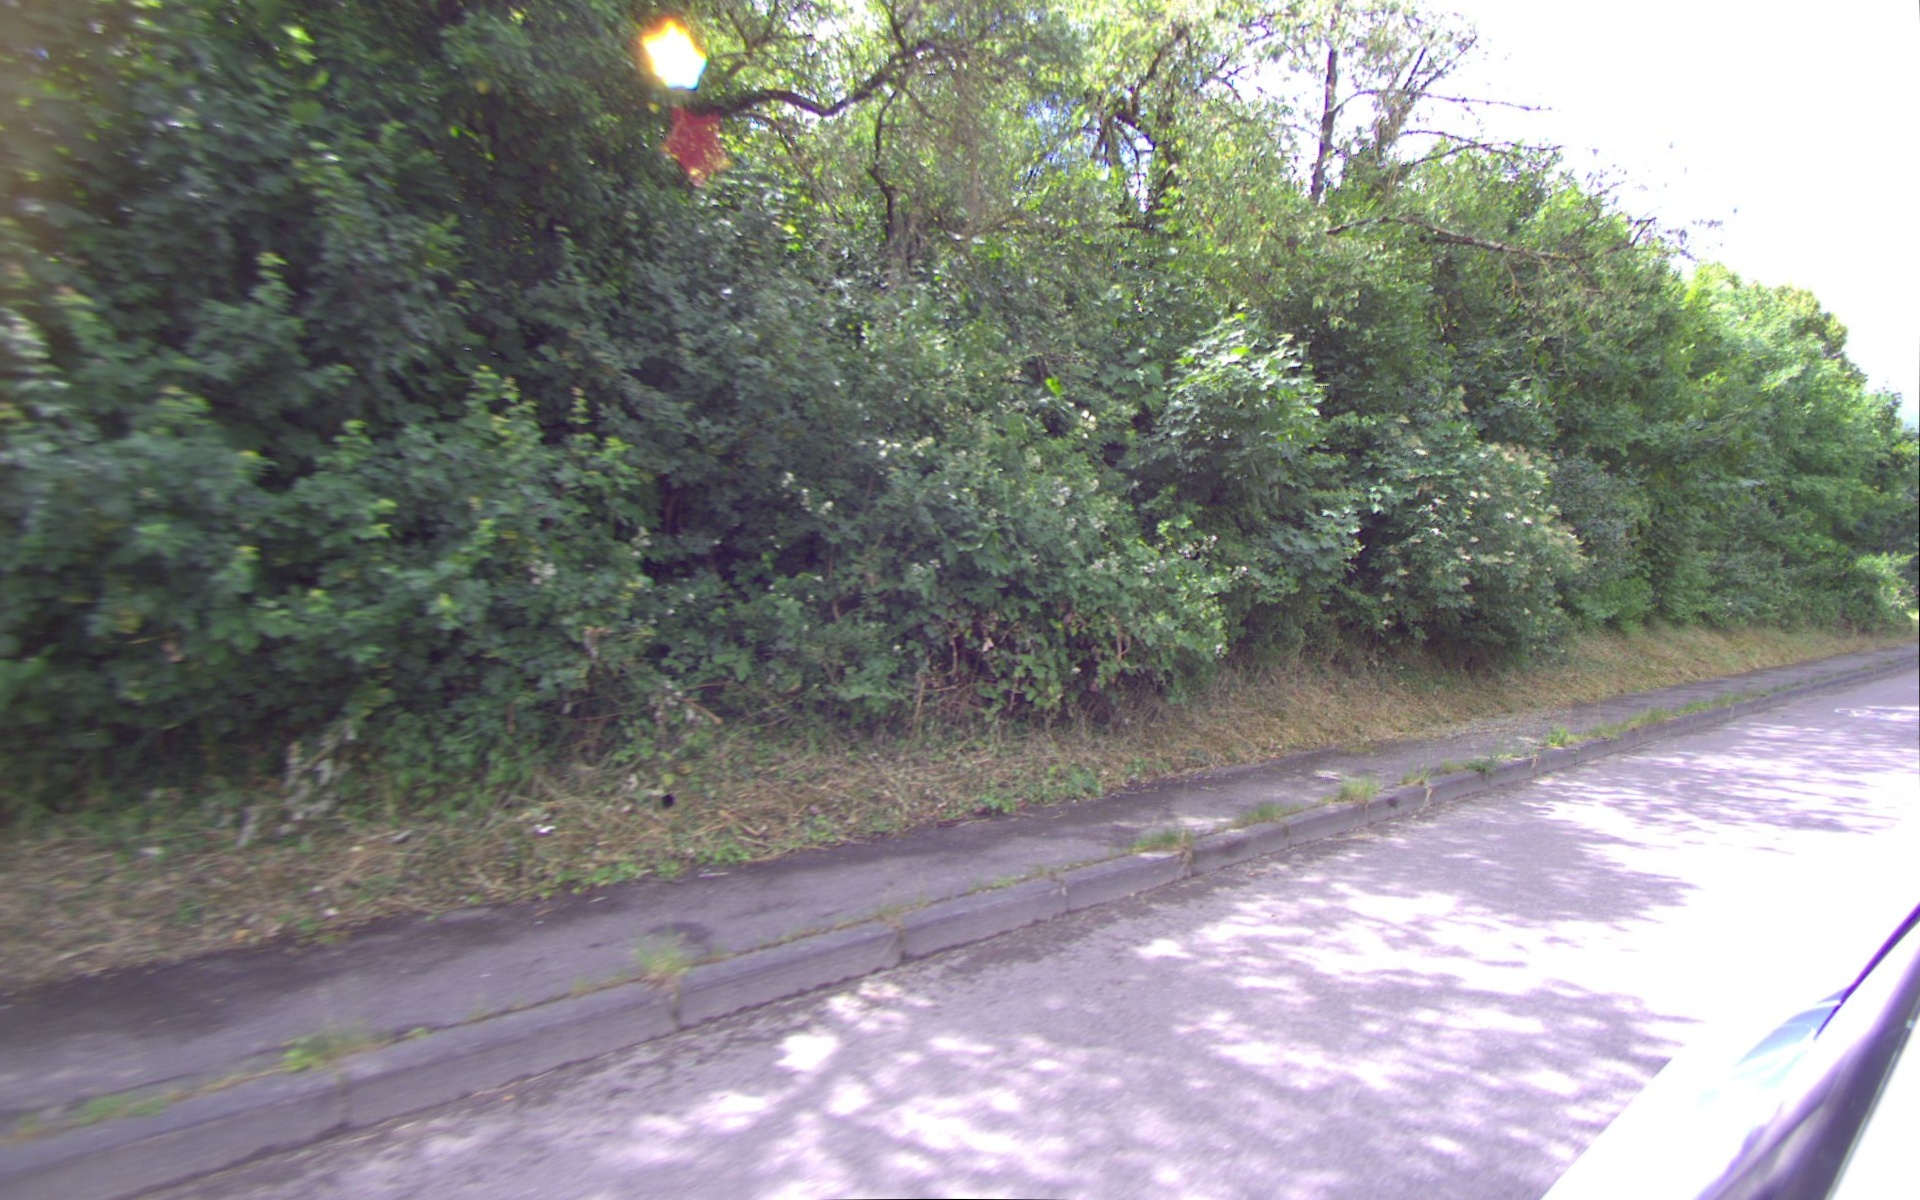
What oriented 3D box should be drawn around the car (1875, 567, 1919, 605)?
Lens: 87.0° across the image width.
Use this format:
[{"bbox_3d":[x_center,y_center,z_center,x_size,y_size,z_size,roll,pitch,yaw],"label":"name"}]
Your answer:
[{"bbox_3d":[50.599,-0.537,52.264,1.963,1.689,4.545,-3,10,-36],"label":"car"}]
